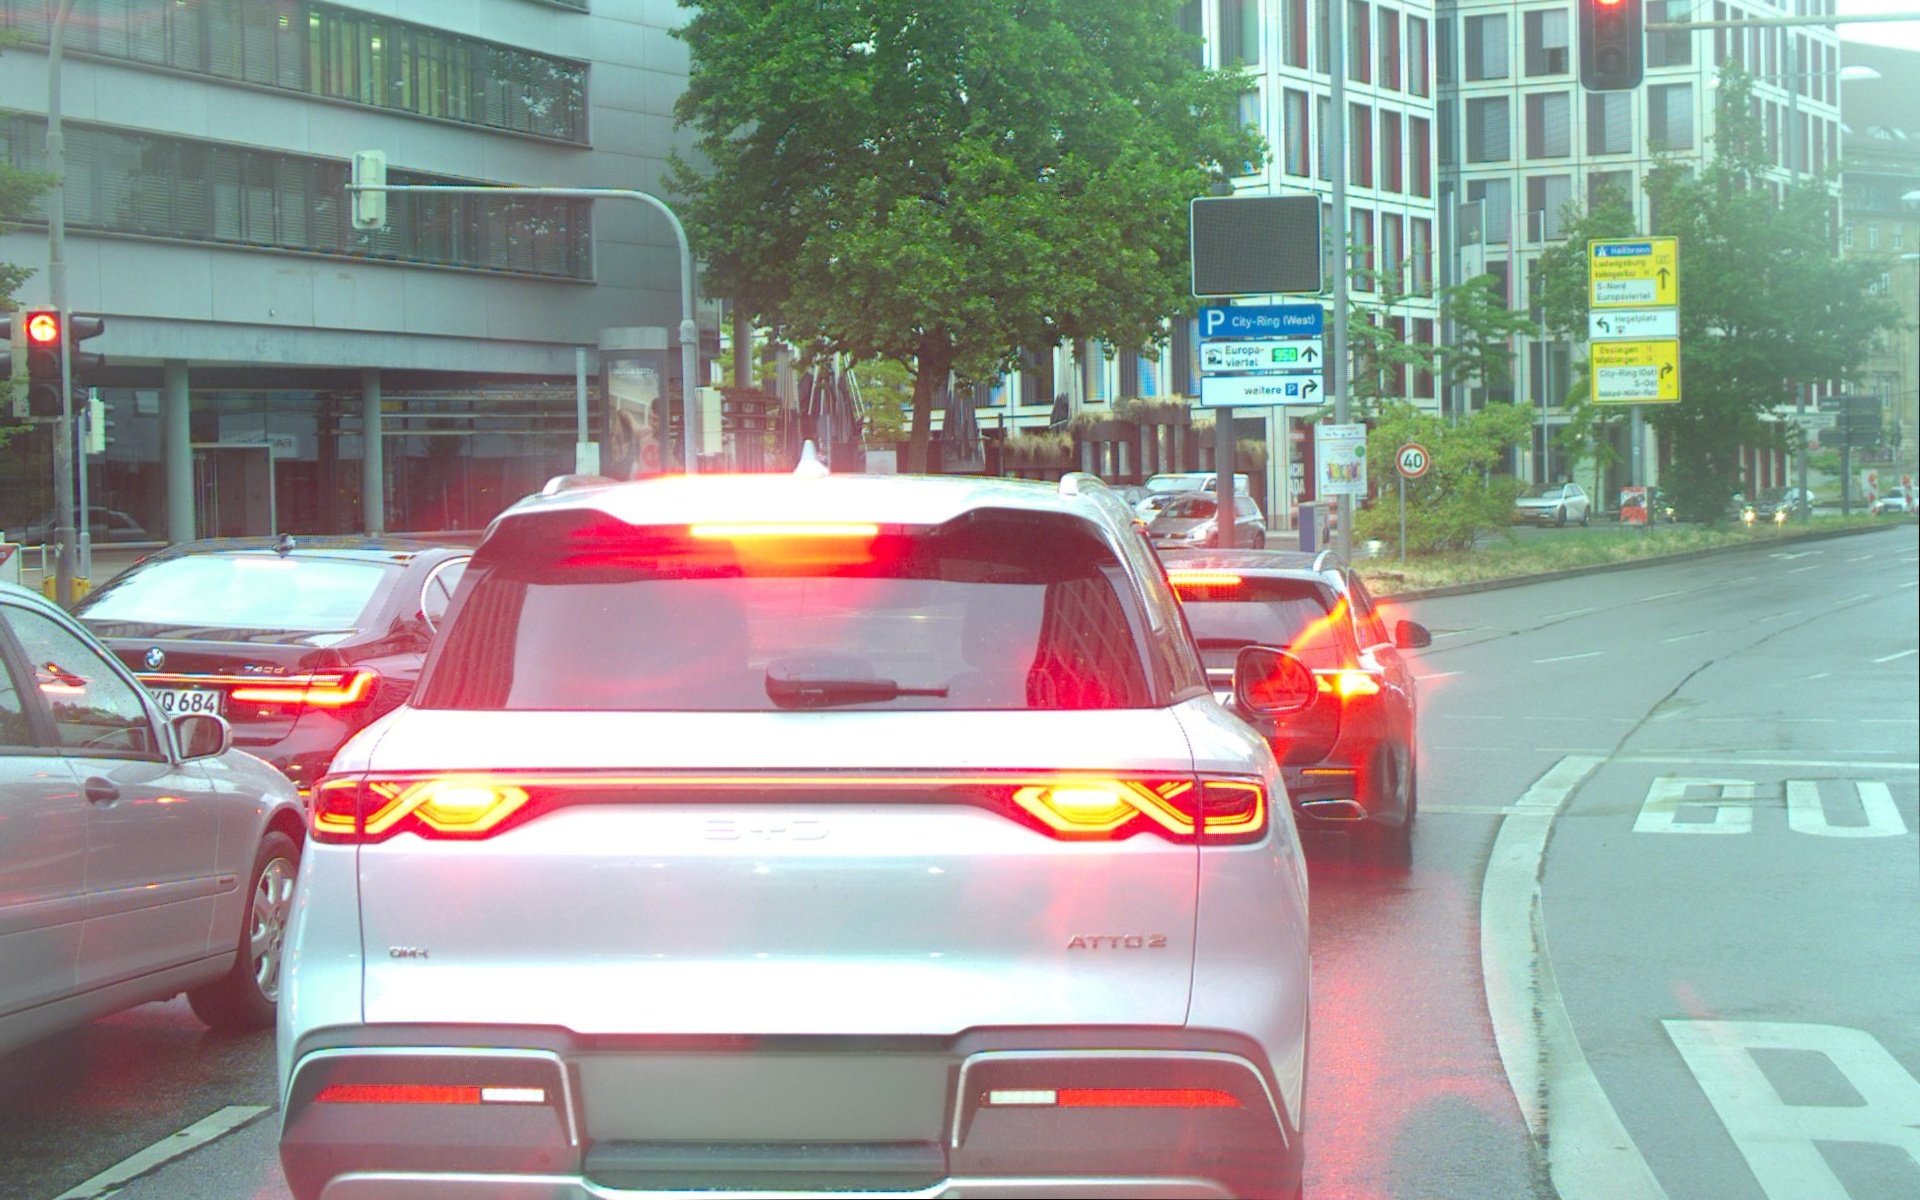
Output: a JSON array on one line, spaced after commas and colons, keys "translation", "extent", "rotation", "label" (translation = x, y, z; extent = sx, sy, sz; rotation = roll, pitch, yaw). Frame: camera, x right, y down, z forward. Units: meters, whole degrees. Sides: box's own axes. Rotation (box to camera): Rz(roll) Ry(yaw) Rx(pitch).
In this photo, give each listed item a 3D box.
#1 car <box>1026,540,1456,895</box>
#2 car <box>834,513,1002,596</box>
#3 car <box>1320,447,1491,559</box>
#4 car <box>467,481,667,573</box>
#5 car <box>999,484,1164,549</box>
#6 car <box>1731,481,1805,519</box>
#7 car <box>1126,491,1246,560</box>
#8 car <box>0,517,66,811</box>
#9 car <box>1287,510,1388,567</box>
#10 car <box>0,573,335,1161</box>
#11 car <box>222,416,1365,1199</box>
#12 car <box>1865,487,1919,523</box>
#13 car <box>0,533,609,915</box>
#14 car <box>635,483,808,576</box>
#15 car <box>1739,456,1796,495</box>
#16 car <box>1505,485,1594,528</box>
[{"translation": [1.474, 0.479, 16.635], "extent": [1.694, 1.481, 3.998], "rotation": [1, 1, 10], "label": "car"}, {"translation": [-0.691, -0.779, 59.500], "extent": [1.692, 1.380, 3.865], "rotation": [1, 1, 19], "label": "car"}, {"translation": [8.482, -1.811, 65.128], "extent": [1.996, 2.007, 4.843], "rotation": [1, 1, 23], "label": "car"}, {"translation": [-7.017, -1.318, 61.821], "extent": [1.995, 1.605, 3.996], "rotation": [1, 1, 20], "label": "car"}, {"translation": [3.003, -2.053, 83.708], "extent": [1.816, 1.505, 5.188], "rotation": [1, 2, 29], "label": "car"}, {"translation": [32.874, -4.068, 139.773], "extent": [1.996, 1.483, 3.994], "rotation": [0, 2, 27], "label": "car"}, {"translation": [5.316, -1.746, 80.529], "extent": [1.645, 1.575, 4.081], "rotation": [1, 1, 21], "label": "car"}, {"translation": [-5.876, 0.323, 16.273], "extent": [1.707, 1.481, 3.998], "rotation": [1, 1, 9], "label": "car"}, {"translation": [11.027, -1.807, 100.147], "extent": [1.633, 1.553, 4.588], "rotation": [0, 2, 23], "label": "car"}, {"translation": [-3.020, 0.637, 8.908], "extent": [1.571, 1.402, 4.108], "rotation": [1, 1, 7], "label": "car"}, {"translation": [-0.215, 0.539, 7.377], "extent": [1.776, 1.673, 4.000], "rotation": [1, 1, 2], "label": "car"}, {"translation": [40.038, -4.071, 146.499], "extent": [1.996, 1.483, 3.994], "rotation": [0, 2, 27], "label": "car"}, {"translation": [-2.793, 0.466, 15.533], "extent": [1.571, 1.481, 3.999], "rotation": [1, 1, 6], "label": "car"}, {"translation": [-4.049, -1.213, 59.073], "extent": [1.645, 1.530, 4.149], "rotation": [1, 1, 16], "label": "car"}, {"translation": [38.371, -5.923, 163.359], "extent": [1.609, 1.735, 3.439], "rotation": [1, 1, 32], "label": "car"}, {"translation": [21.039, -3.351, 122.641], "extent": [1.996, 1.483, 3.994], "rotation": [0, 2, 27], "label": "car"}]
